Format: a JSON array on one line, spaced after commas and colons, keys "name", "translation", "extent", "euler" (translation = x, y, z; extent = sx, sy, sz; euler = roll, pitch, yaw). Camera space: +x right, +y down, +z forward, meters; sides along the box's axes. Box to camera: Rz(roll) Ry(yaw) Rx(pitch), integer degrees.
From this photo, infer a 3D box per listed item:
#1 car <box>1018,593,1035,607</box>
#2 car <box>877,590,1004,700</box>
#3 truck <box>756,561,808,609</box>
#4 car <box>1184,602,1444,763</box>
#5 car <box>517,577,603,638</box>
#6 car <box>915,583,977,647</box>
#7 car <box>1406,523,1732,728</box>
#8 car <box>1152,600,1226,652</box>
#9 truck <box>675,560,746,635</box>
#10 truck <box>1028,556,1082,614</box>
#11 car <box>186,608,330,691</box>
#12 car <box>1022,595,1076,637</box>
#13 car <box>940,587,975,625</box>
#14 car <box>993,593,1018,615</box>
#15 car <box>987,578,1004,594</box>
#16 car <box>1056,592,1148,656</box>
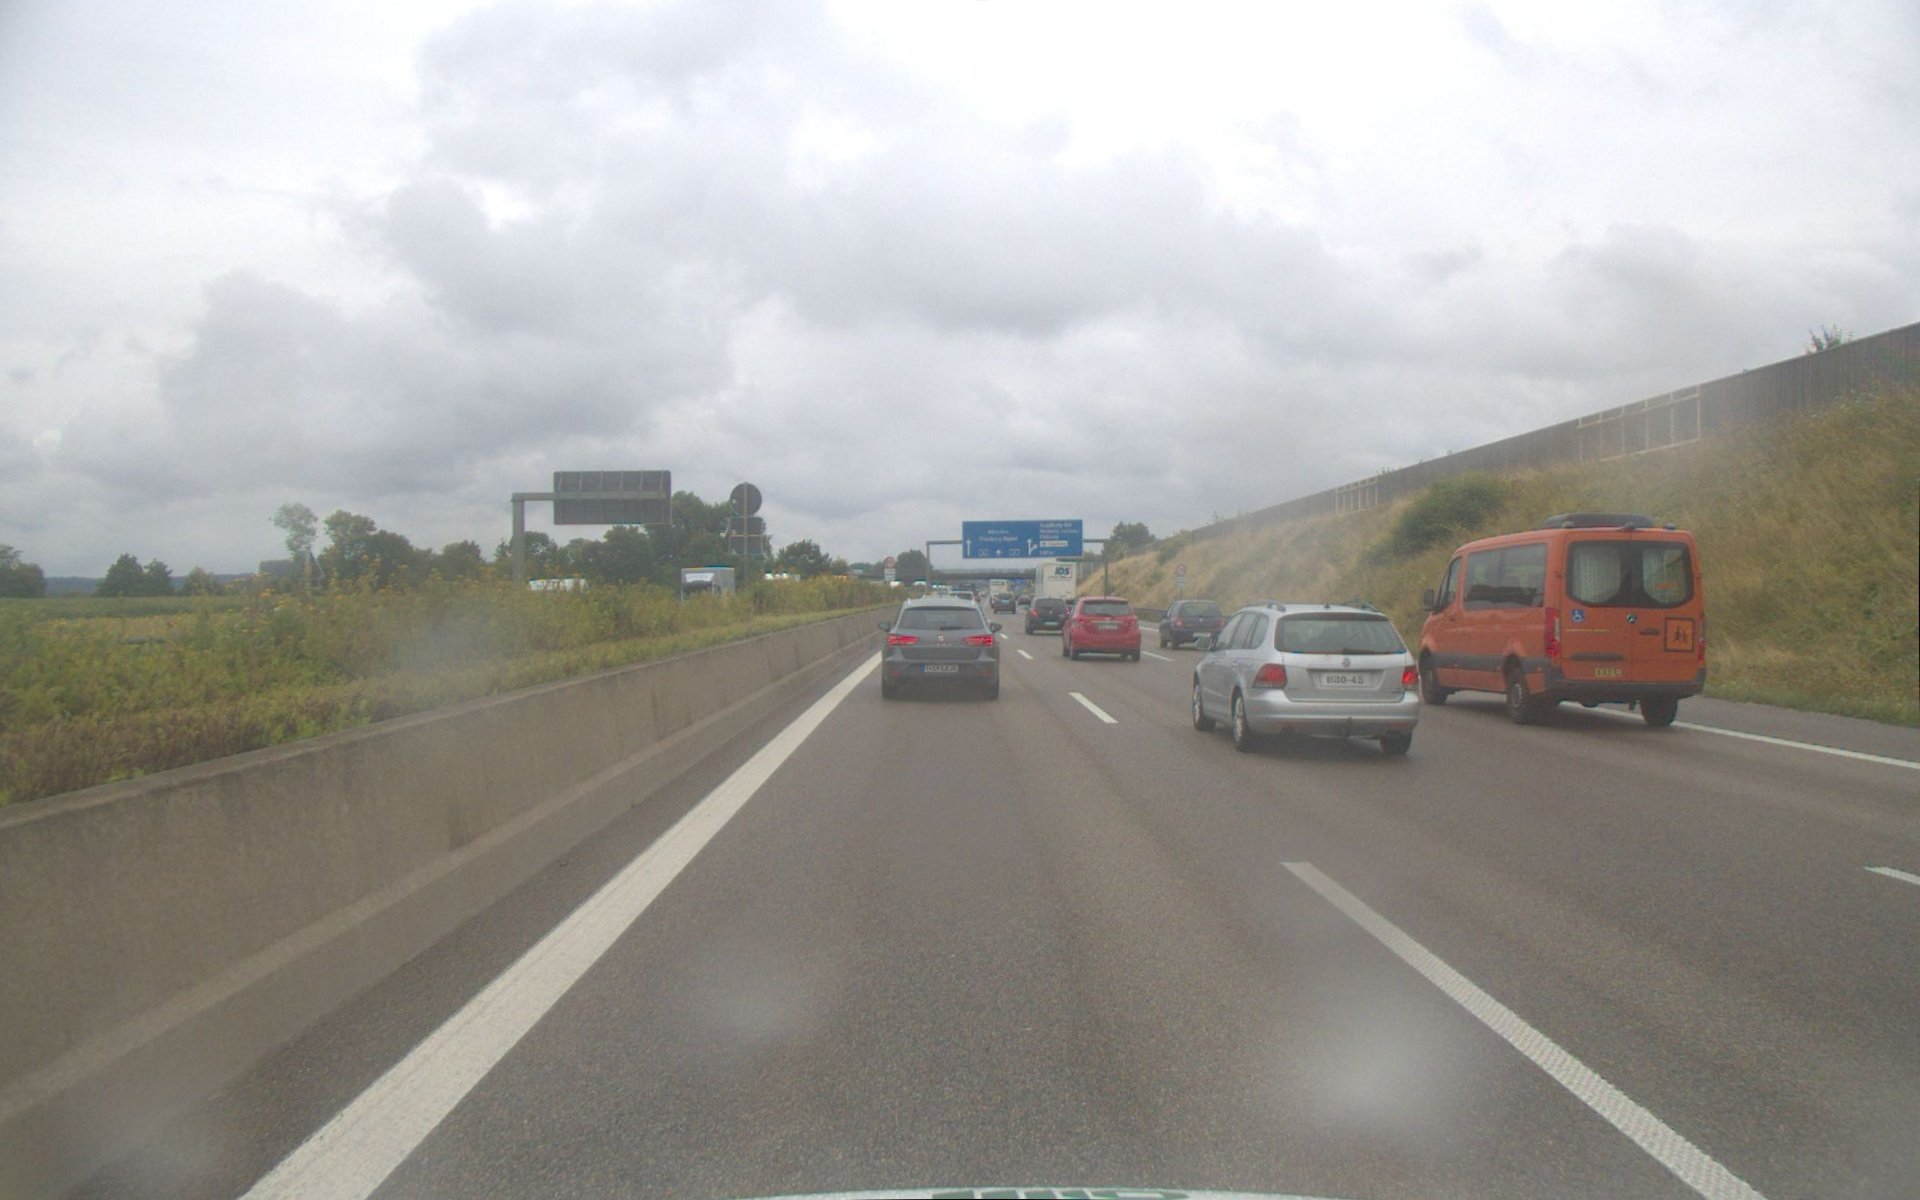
[{"name": "car", "translation": [8.853, -0.040, 221.877], "extent": [1.953, 1.892, 4.389], "euler": [0, 0, -2]}, {"name": "car", "translation": [-0.281, 0.629, 24.807], "extent": [1.732, 1.493, 3.999], "euler": [1, 0, -1]}, {"name": "truck", "translation": [-15.843, -1.253, 147.846], "extent": [3.118, 4.036, 10.812], "euler": [1, 0, 1]}, {"name": "car", "translation": [3.570, 0.761, 17.519], "extent": [1.706, 1.450, 4.516], "euler": [-1, 0, -1]}, {"name": "car", "translation": [-17.864, 0.351, 74.250], "extent": [2.199, 2.574, 6.905], "euler": [1, 0, 0]}, {"name": "car", "translation": [-0.379, 0.437, 48.885], "extent": [1.718, 1.780, 4.000], "euler": [1, 0, 0]}, {"name": "car", "translation": [7.851, 0.270, 22.146], "extent": [2.043, 2.355, 6.180], "euler": [0, 0, -1]}, {"name": "car", "translation": [6.704, 0.747, 48.787], "extent": [1.667, 1.426, 3.875], "euler": [1, 0, 0]}, {"name": "truck", "translation": [-16.493, -0.133, 110.090], "extent": [3.159, 4.731, 9.674], "euler": [1, 0, 0]}, {"name": "truck", "translation": [7.641, -1.093, 135.749], "extent": [3.216, 4.370, 19.031], "euler": [1, 0, 0]}, {"name": "car", "translation": [-16.752, 1.138, 39.665], "extent": [1.763, 1.805, 3.860], "euler": [-2, 0, -1]}, {"name": "car", "translation": [3.449, 0.593, 64.696], "extent": [1.881, 1.548, 4.622], "euler": [0, 0, 0]}, {"name": "car", "translation": [-0.135, 0.304, 83.565], "extent": [1.670, 1.828, 3.854], "euler": [-2, 0, -1]}, {"name": "car", "translation": [3.577, 0.314, 131.277], "extent": [1.808, 1.716, 3.999], "euler": [1, 0, -1]}, {"name": "car", "translation": [4.621, -1.784, 214.605], "extent": [1.953, 2.049, 3.998], "euler": [-1, 0, -2]}, {"name": "car", "translation": [3.424, 0.549, 40.612], "extent": [1.852, 1.472, 4.685], "euler": [0, 0, 0]}]
